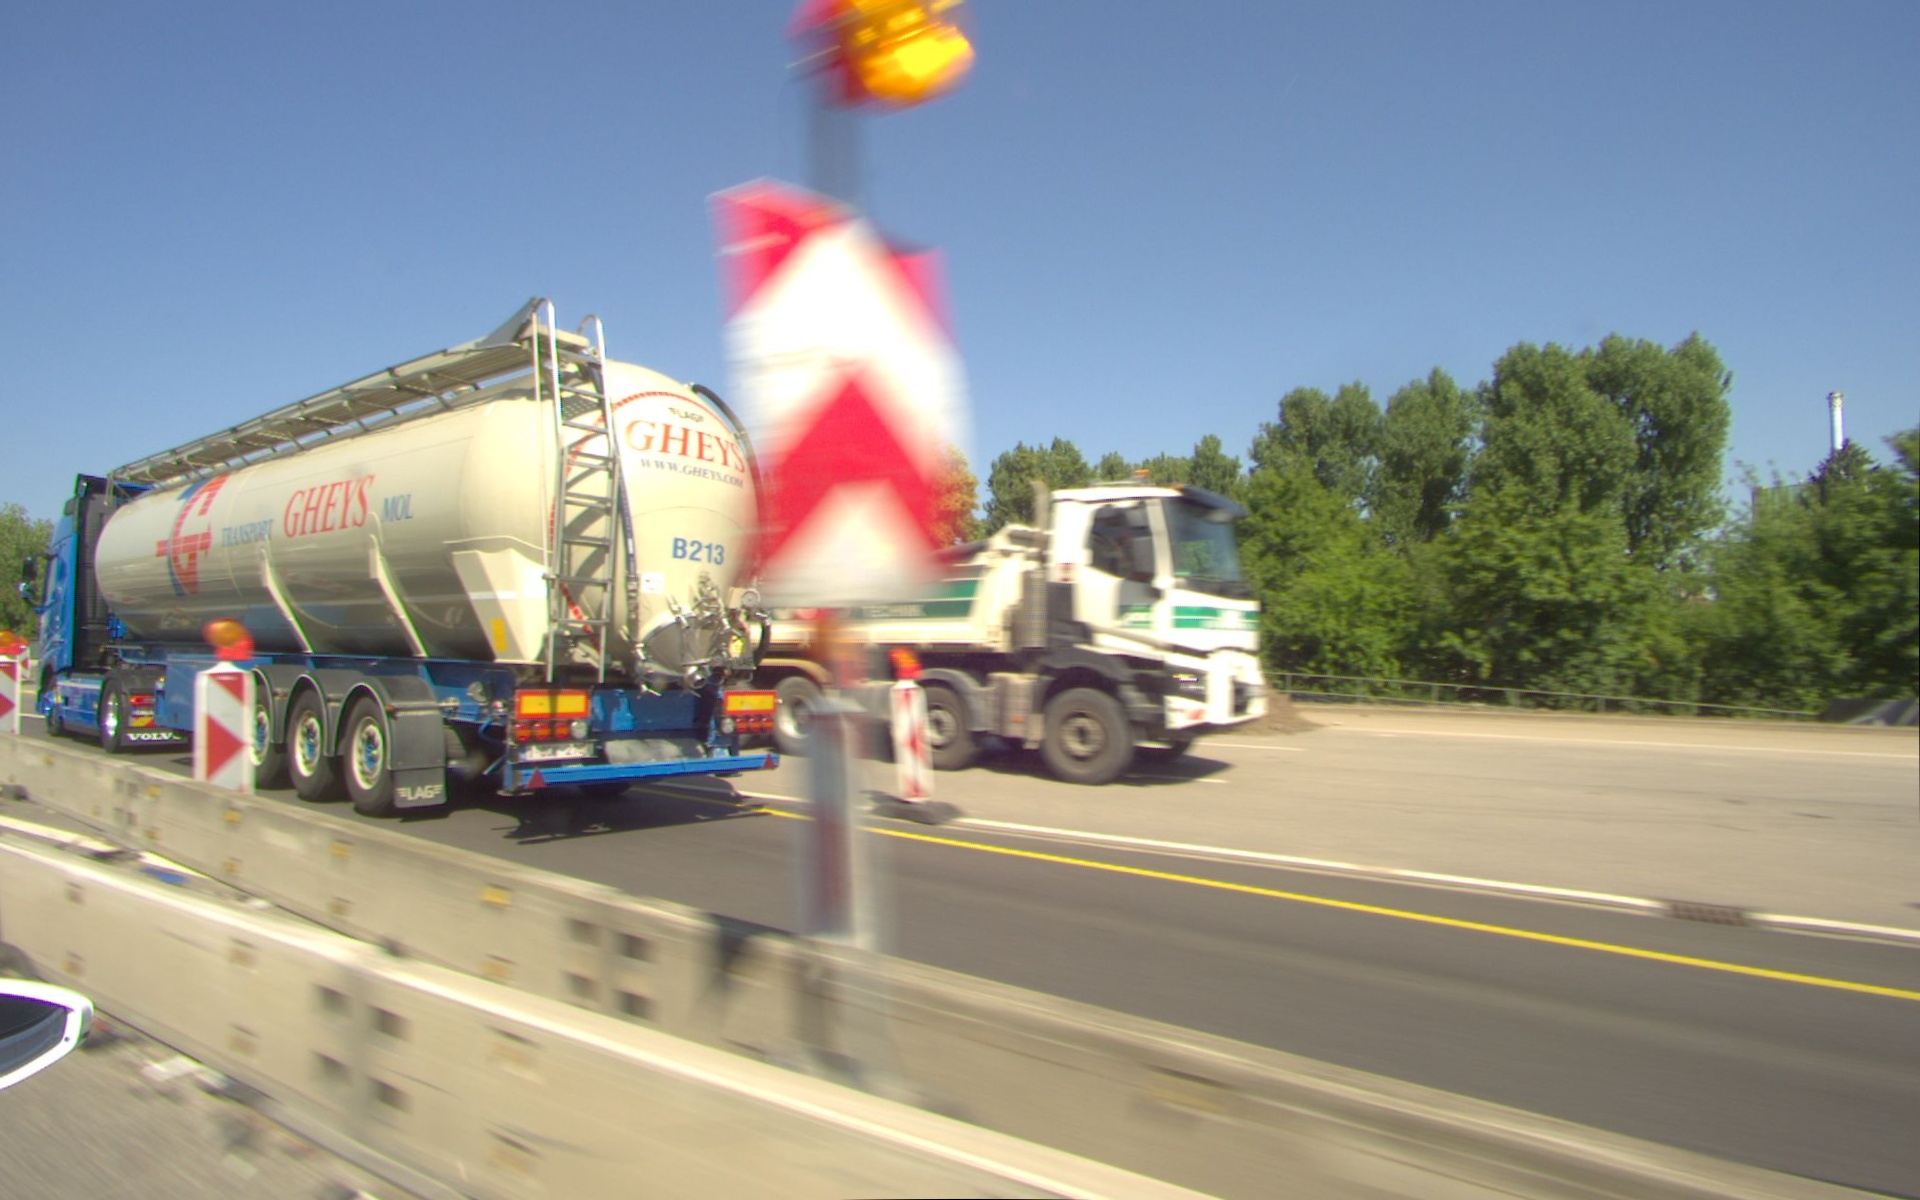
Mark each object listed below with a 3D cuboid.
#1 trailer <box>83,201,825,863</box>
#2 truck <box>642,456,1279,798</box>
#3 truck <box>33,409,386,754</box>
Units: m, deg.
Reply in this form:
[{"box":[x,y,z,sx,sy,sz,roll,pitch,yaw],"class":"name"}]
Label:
[{"box":[-6.788,-0.272,11.328,12.463,4.190,2.683,-2,-2,39],"class":"trailer"},{"box":[-0.374,0.380,13.588,8.610,3.476,2.595,-1,-1,32],"class":"truck"},{"box":[-11.743,-0.115,15.387,7.212,4.155,2.683,-1,-2,39],"class":"truck"}]
